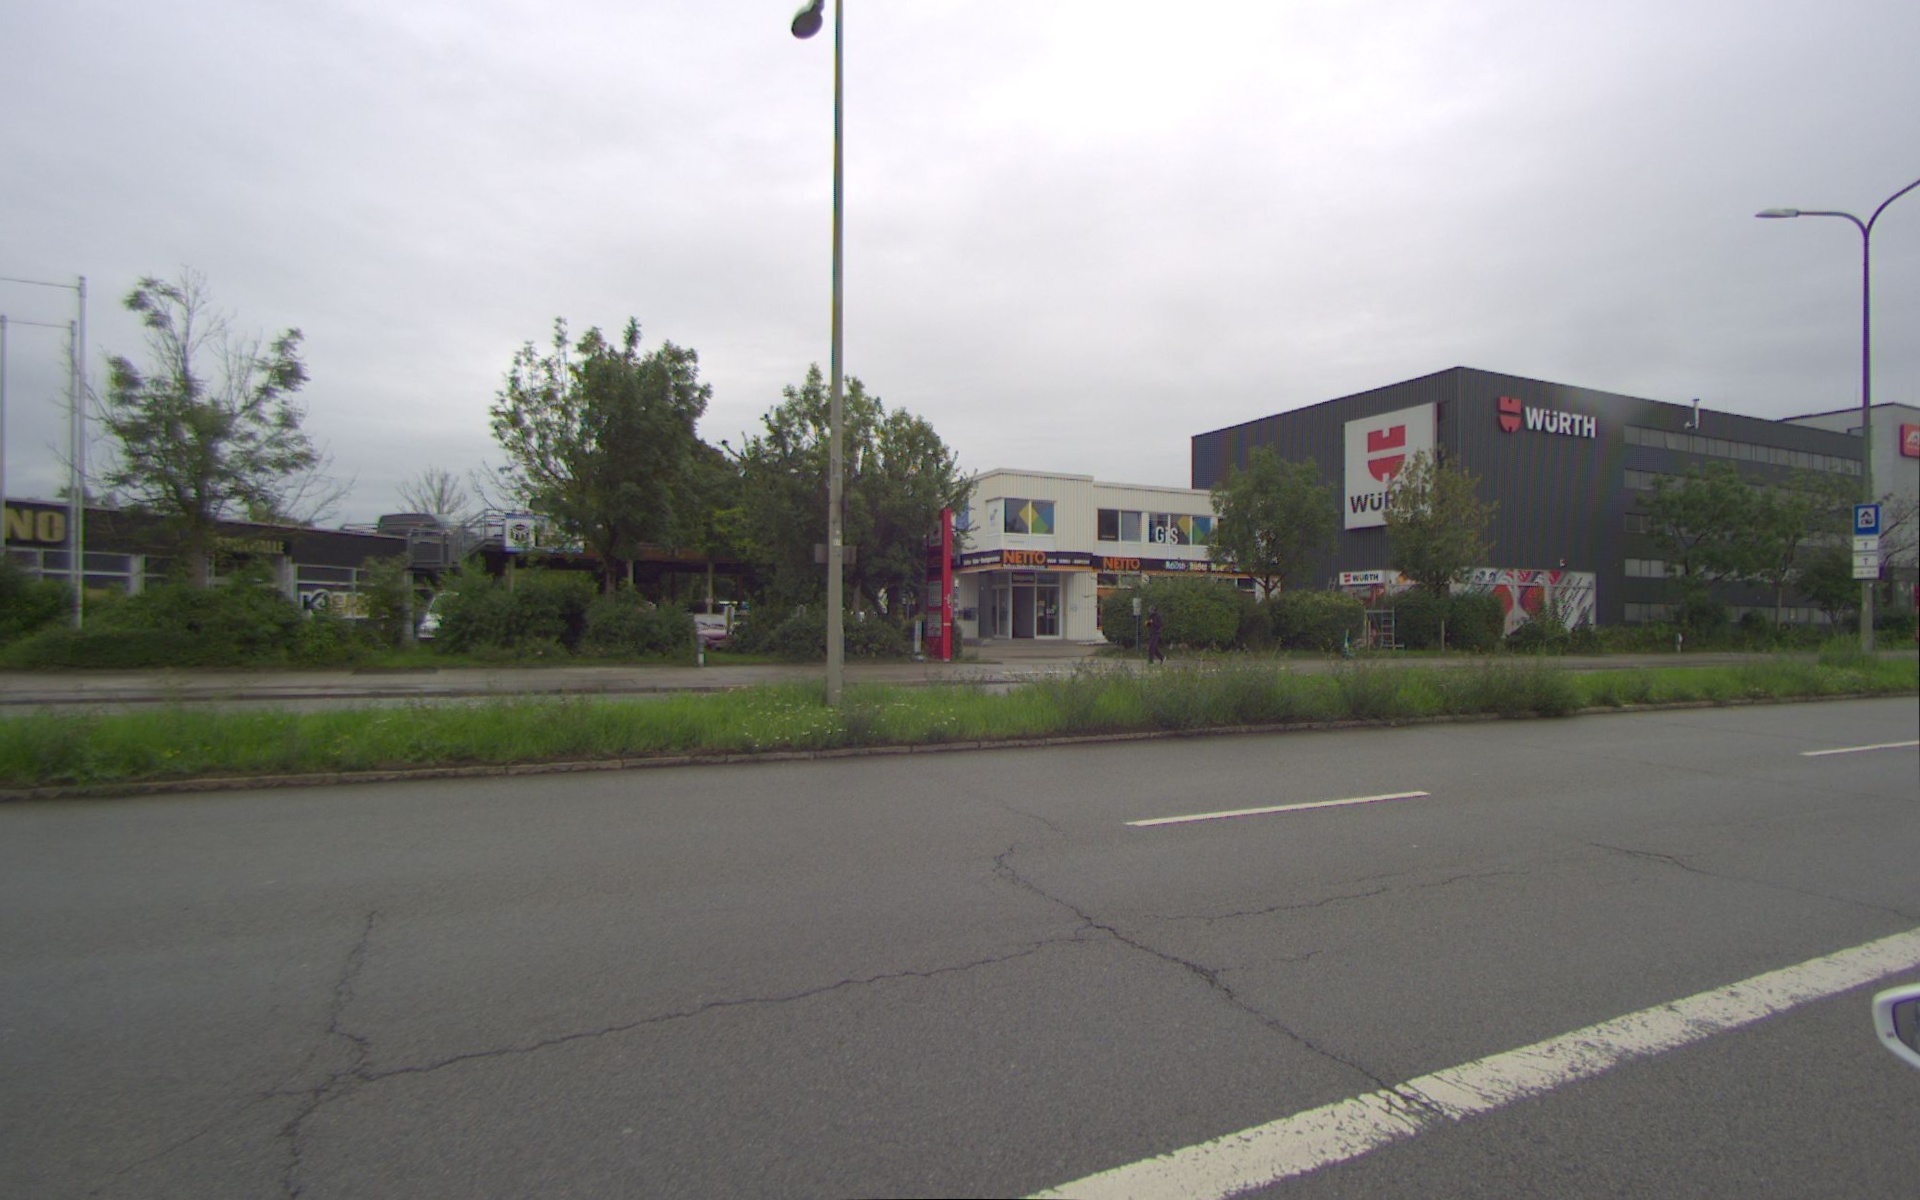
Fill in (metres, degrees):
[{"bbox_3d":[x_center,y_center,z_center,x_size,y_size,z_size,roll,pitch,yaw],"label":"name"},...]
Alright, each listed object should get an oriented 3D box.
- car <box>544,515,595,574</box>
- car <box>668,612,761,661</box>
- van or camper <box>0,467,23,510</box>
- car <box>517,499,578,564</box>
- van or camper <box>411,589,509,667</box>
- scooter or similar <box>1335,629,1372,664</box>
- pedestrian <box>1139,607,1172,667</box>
[{"bbox_3d":[-20.824,-2.880,53.450,2.106,2.400,4.770,4,-5,-24],"label":"car"},{"bbox_3d":[-7.833,1.130,31.858,1.848,1.439,3.969,1,-1,-30],"label":"car"},{"bbox_3d":[-56.326,-6.577,55.520,2.591,2.274,6.048,1,-3,16],"label":"van or camper"},{"bbox_3d":[-17.880,-2.882,43.424,2.106,2.039,4.770,4,-5,-24],"label":"car"},{"bbox_3d":[-14.112,0.781,28.578,1.970,2.040,3.982,1,-1,-20],"label":"van or camper"},{"bbox_3d":[14.057,1.655,35.837,1.370,1.243,0.443,1,-1,-28],"label":"scooter or similar"},{"bbox_3d":[6.097,1.142,31.326,0.806,1.854,0.620,1,-1,-26],"label":"pedestrian"}]
